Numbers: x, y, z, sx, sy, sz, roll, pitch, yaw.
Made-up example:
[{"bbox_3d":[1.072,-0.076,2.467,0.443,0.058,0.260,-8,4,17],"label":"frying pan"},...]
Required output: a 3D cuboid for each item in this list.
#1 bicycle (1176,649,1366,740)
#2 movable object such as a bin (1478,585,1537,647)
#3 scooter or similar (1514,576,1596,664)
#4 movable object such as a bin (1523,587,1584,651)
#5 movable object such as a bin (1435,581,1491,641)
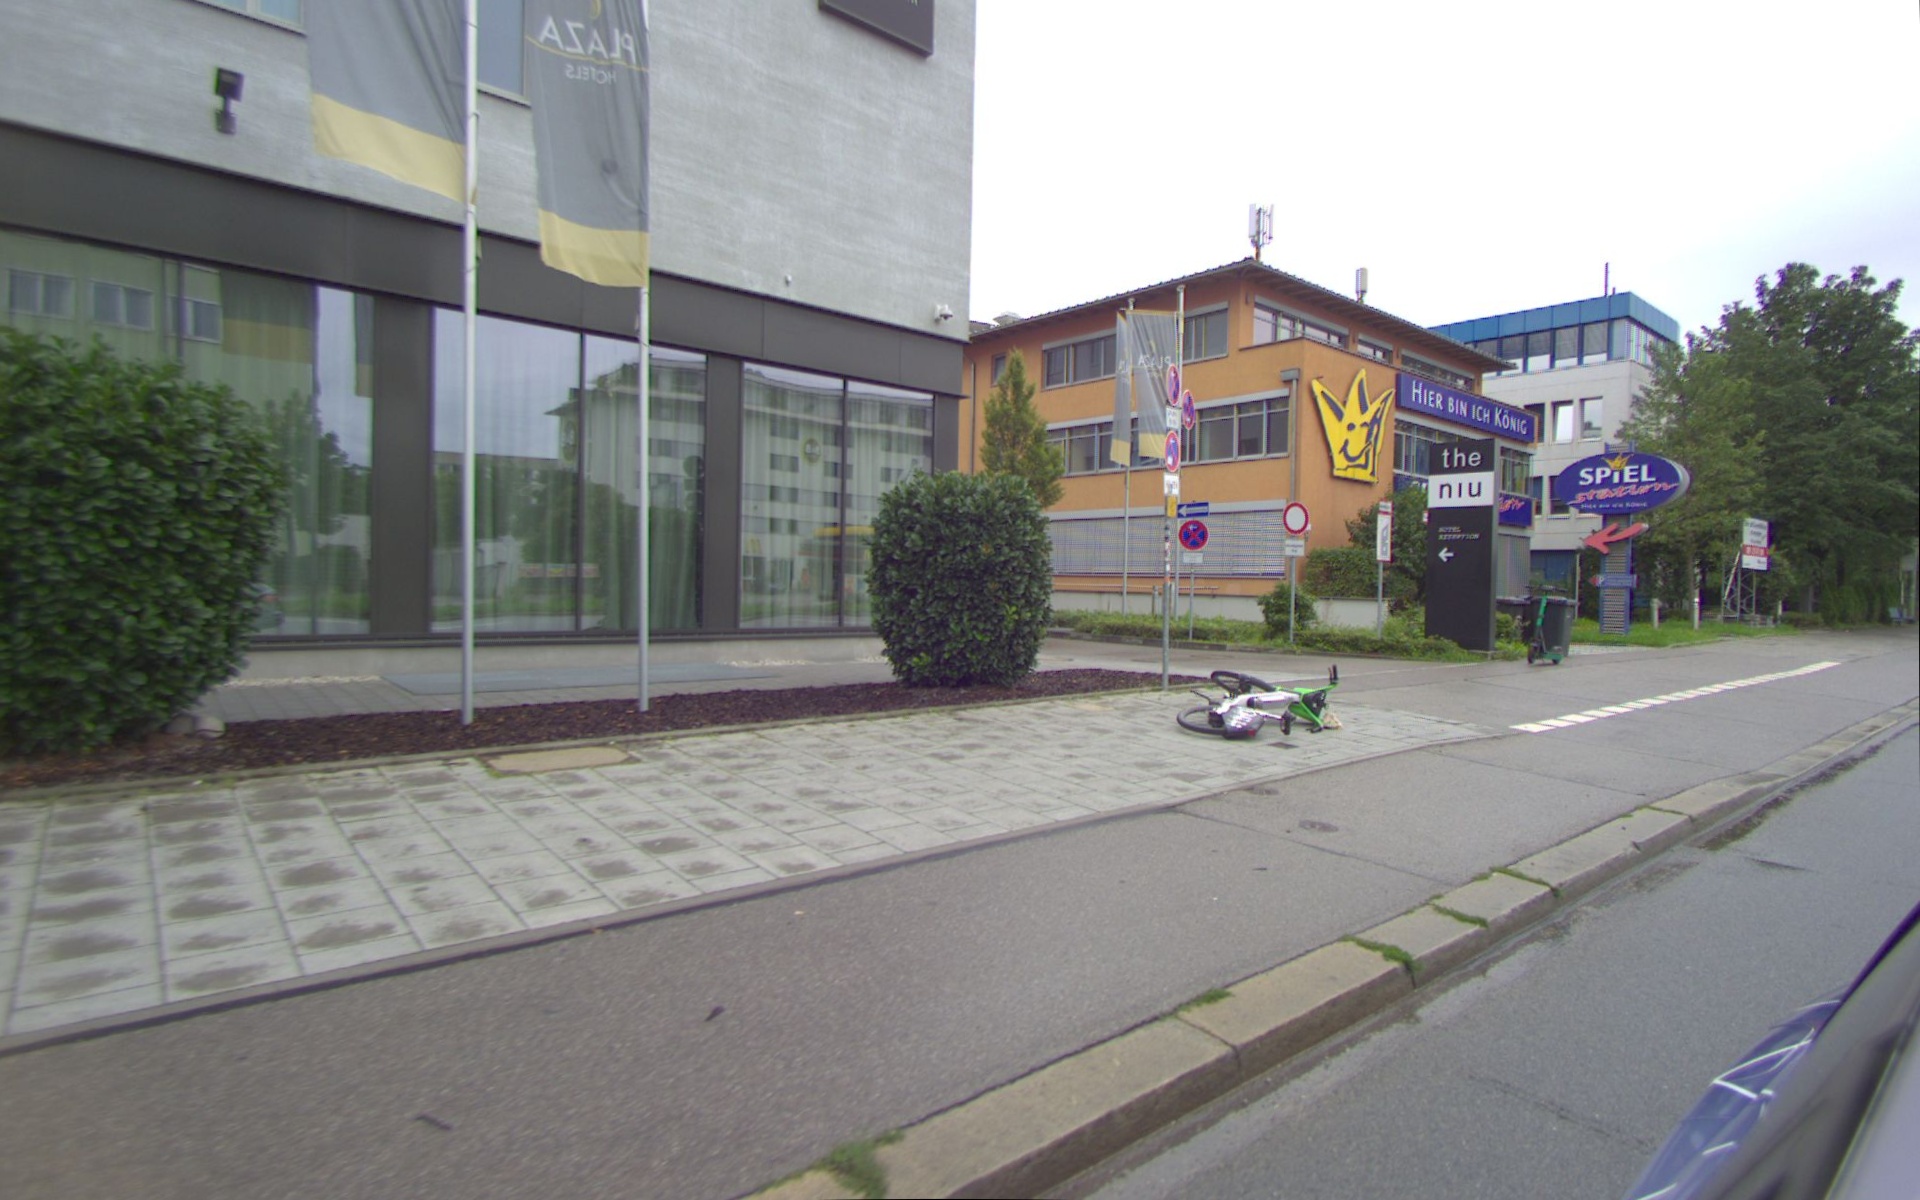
[{"bbox_3d":[2.668,0.763,8.593,1.702,0.555,0.721,0,5,-41],"label":"bicycle"},{"bbox_3d":[10.185,0.282,18.820,0.643,1.091,0.739,0,2,-40],"label":"movable object such as a bin"},{"bbox_3d":[9.543,0.302,16.218,1.379,1.292,0.587,0,6,-40],"label":"scooter or similar"},{"bbox_3d":[10.654,0.335,18.181,0.643,1.091,0.739,0,2,-40],"label":"movable object such as a bin"},{"bbox_3d":[9.697,0.199,19.513,0.643,1.091,0.739,0,2,-40],"label":"movable object such as a bin"}]
